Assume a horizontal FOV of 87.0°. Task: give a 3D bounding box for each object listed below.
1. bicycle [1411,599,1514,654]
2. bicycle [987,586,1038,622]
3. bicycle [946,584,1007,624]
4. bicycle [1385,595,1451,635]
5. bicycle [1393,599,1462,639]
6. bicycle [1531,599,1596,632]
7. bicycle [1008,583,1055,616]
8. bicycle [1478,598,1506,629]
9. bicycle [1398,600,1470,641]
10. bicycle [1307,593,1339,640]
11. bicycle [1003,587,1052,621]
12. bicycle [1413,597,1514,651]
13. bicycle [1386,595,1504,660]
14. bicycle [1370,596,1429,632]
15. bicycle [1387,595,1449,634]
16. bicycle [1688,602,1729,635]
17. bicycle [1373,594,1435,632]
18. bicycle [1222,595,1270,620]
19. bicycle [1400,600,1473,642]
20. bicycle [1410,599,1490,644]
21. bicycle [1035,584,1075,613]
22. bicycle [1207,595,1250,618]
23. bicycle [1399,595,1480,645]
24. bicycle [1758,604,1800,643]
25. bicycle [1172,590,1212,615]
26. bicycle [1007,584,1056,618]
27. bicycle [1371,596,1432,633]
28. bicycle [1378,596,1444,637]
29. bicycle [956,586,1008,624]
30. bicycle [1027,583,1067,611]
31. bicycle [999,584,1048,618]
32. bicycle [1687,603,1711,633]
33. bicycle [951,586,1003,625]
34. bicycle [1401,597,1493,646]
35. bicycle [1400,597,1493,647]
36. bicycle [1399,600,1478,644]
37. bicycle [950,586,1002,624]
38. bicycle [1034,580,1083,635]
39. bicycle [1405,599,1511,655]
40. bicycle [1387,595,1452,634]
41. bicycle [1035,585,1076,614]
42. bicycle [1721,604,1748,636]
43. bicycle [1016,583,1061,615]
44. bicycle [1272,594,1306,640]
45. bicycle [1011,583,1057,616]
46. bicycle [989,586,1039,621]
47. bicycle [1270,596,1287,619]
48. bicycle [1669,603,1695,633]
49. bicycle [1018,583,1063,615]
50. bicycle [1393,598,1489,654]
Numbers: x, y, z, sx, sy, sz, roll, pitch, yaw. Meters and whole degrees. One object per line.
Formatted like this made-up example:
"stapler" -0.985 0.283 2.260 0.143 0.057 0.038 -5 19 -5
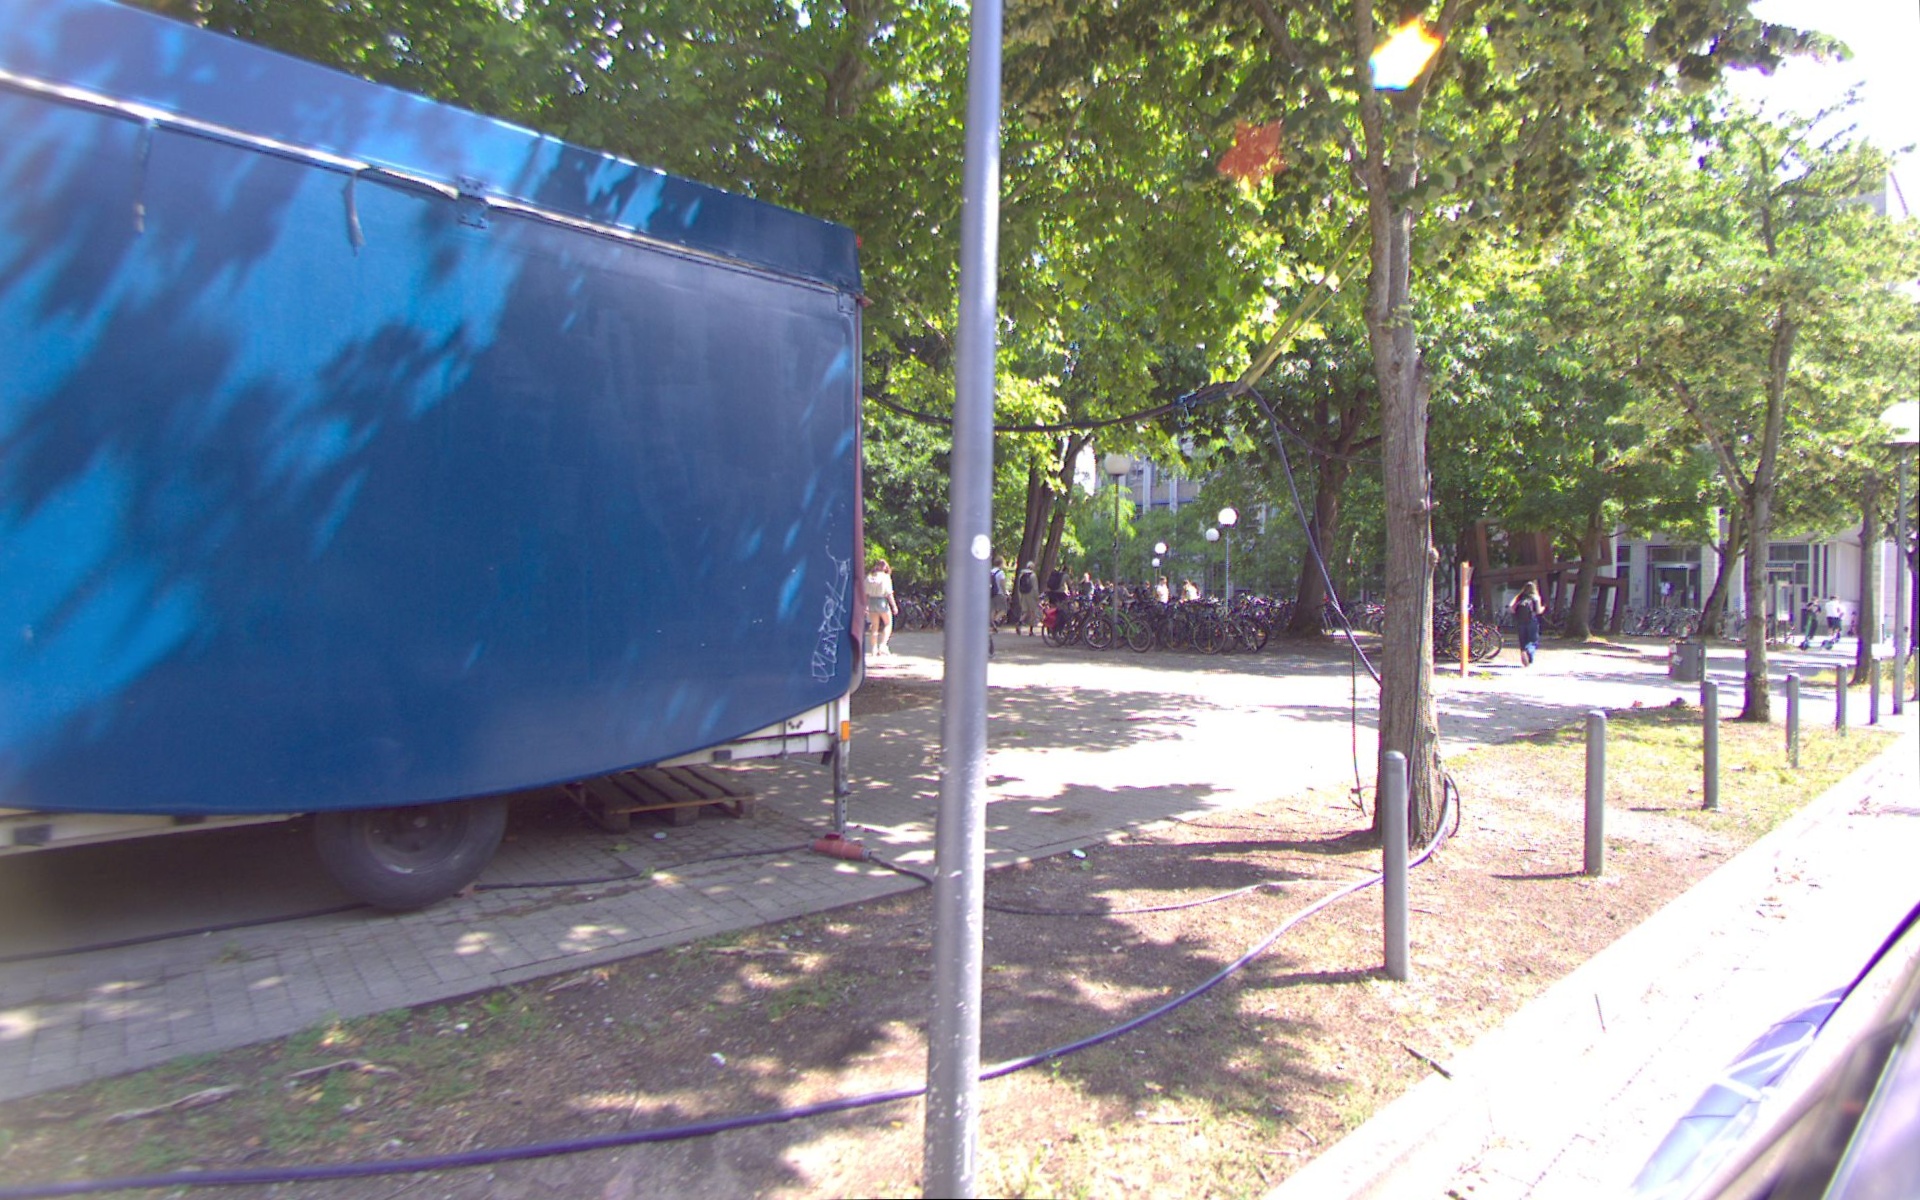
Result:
"bicycle" 10.763 0.544 21.727 1.939 1.096 0.399 2 0 38
"bicycle" 1.732 0.127 33.348 1.591 1.107 0.475 2 1 20
"bicycle" 0.496 0.114 30.036 1.734 1.107 0.475 2 1 23
"bicycle" 14.311 0.467 31.676 1.819 1.185 0.401 2 0 16
"bicycle" 13.502 0.528 29.275 1.771 1.083 0.423 2 0 21
"bicycle" 21.912 0.547 36.784 1.895 1.123 0.630 1 1 13
"bicycle" 2.568 -0.019 36.359 1.591 1.107 0.475 2 1 20
"bicycle" 19.917 0.491 37.937 0.468 1.123 1.665 1 1 12
"bicycle" 13.333 0.571 28.490 1.770 1.083 0.424 2 0 19
"bicycle" 9.085 0.388 25.300 0.474 1.096 1.885 2 1 28
"bicycle" 2.294 0.127 34.260 1.591 1.107 0.346 2 1 20
"bicycle" 11.102 0.513 22.346 1.939 1.096 0.399 2 0 38
"bicycle" 9.618 0.526 20.098 2.010 1.181 0.643 2 0 38
"bicycle" 15.056 0.481 34.693 1.817 1.185 0.344 2 0 13
"bicycle" 14.835 0.463 32.802 1.811 1.185 0.345 1 0 2
"bicycle" 28.415 0.702 38.397 1.494 1.155 0.493 3 0 -22
"bicycle" 14.916 0.431 34.025 1.817 1.185 0.344 2 0 12
"bicycle" 12.290 0.307 43.477 1.870 0.991 0.478 2 1 5
"bicycle" 13.194 0.578 28.074 1.770 1.083 0.424 2 0 19
"bicycle" 12.342 0.531 25.536 1.712 1.066 0.492 2 0 13
"bicycle" 3.921 -0.070 41.591 1.586 1.107 0.347 2 1 12
"bicycle" 12.494 0.303 47.052 1.874 0.991 0.477 2 1 12
"bicycle" 11.801 0.491 24.954 1.712 1.169 0.492 2 0 13
"bicycle" 25.868 0.729 31.988 0.622 1.097 1.674 -1 2 25
"bicycle" 9.473 0.097 41.374 1.571 0.991 0.403 2 1 10
"bicycle" 2.491 0.016 35.297 1.591 1.107 0.475 2 1 20
"bicycle" 14.986 0.490 34.363 1.817 1.185 0.344 2 0 13
"bicycle" 13.680 0.500 30.744 1.767 1.185 0.401 2 0 16
"bicycle" 0.669 0.146 31.080 1.598 1.107 0.344 2 1 31
"bicycle" 3.639 -0.114 42.291 1.586 1.107 0.347 2 1 12
"bicycle" 2.177 0.016 34.682 1.591 1.107 0.475 2 1 20
"bicycle" 28.584 0.711 39.139 1.416 1.099 0.460 3 0 -44
"bicycle" 0.497 0.147 30.767 1.598 1.107 0.344 2 1 31
"bicycle" 11.399 0.497 23.734 1.894 1.073 0.322 2 0 26
"bicycle" 11.258 0.498 23.460 1.894 1.073 0.322 2 0 26
"bicycle" 12.297 0.557 26.044 1.772 1.041 0.438 2 0 17
"bicycle" 0.485 0.146 30.772 1.598 1.107 0.344 2 1 31
"bicycle" 2.410 0.177 24.709 0.526 1.268 1.720 3 1 28
"bicycle" 10.503 0.556 21.390 1.939 1.096 0.399 2 0 38
"bicycle" 14.516 0.449 31.990 1.819 1.185 0.344 2 0 16
"bicycle" 3.813 -0.033 40.421 1.586 1.107 0.477 2 1 12
"bicycle" 29.115 0.747 38.035 1.465 1.155 0.560 3 0 -44
"bicycle" 2.886 -0.042 37.409 1.591 1.107 0.346 2 1 20
"bicycle" 8.327 0.408 25.567 0.474 1.096 1.885 2 1 28
"bicycle" 2.680 -0.024 36.692 1.591 1.107 0.346 2 1 20
"bicycle" 1.804 0.117 33.722 1.591 1.107 0.475 2 1 20
"bicycle" 15.548 0.382 49.450 0.350 1.097 1.453 1 0 36
"bicycle" 28.009 0.688 39.258 1.447 1.099 0.460 3 0 -40
"bicycle" 3.002 -0.046 37.745 1.591 1.107 0.475 2 1 20
"bicycle" 10.081 0.535 21.247 1.763 1.096 0.432 2 0 38
